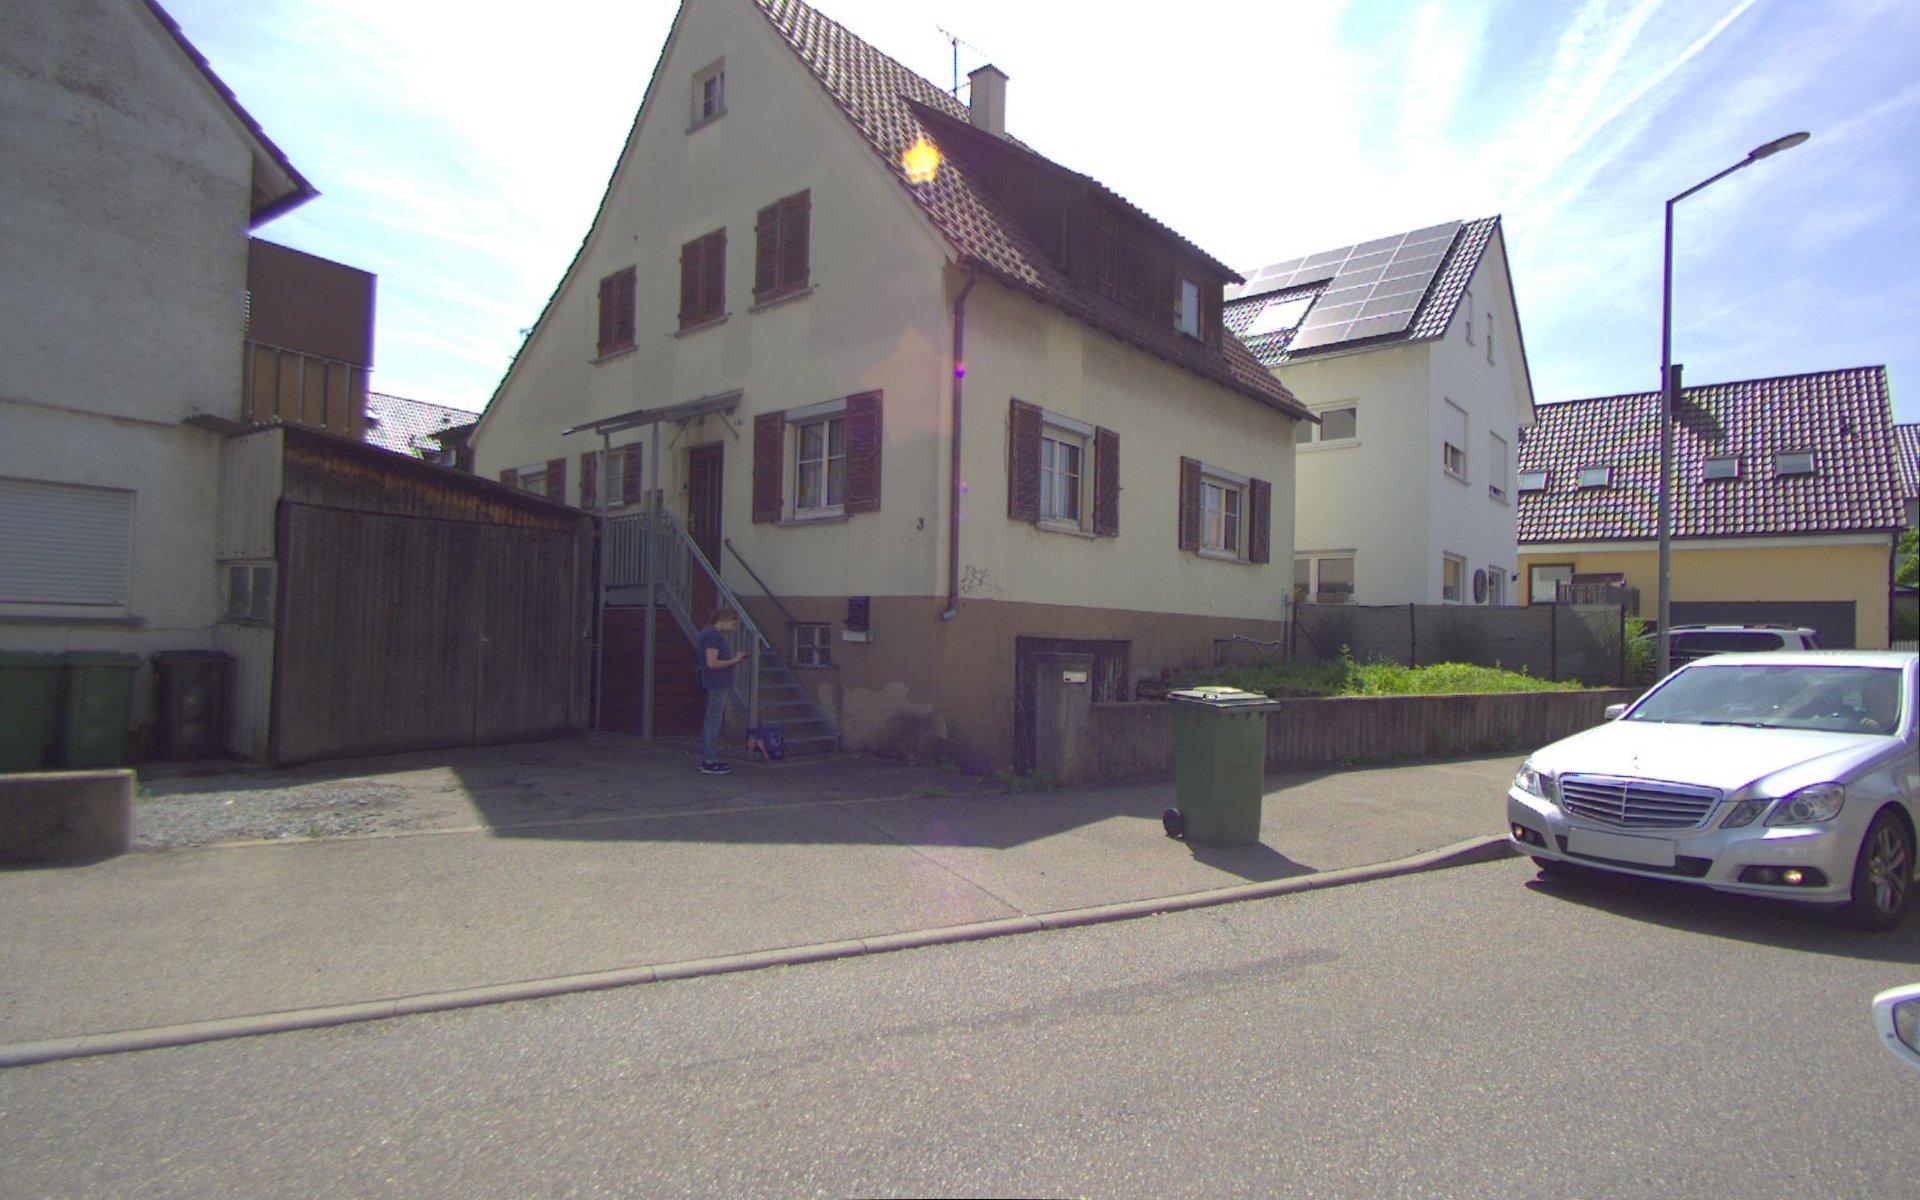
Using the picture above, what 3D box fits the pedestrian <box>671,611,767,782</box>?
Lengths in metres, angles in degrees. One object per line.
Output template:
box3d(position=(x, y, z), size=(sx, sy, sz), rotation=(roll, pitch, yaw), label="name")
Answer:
box3d(position=(-2.381, 0.911, 9.905), size=(0.622, 1.595, 0.770), rotation=(1, -1, -39), label="pedestrian")

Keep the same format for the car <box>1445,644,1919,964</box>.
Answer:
box3d(position=(5.534, 1.066, 6.689), size=(4.404, 1.505, 1.948), rotation=(2, -3, -29), label="car")

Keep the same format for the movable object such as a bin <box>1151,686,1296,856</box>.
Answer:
box3d(position=(1.879, 1.184, 7.202), size=(0.644, 1.071, 0.786), rotation=(1, -1, -34), label="movable object such as a bin")

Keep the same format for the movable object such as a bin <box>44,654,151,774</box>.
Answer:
box3d(position=(-8.153, 1.053, 9.504), size=(0.618, 1.049, 0.602), rotation=(1, -1, 33), label="movable object such as a bin")

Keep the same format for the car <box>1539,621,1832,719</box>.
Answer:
box3d(position=(14.019, 1.280, 19.595), size=(1.986, 1.644, 4.360), rotation=(3, -2, -43), label="car")

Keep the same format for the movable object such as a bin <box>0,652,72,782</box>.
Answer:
box3d(position=(-8.494, 1.032, 9.033), size=(0.669, 1.096, 0.582), rotation=(1, -1, 33), label="movable object such as a bin")

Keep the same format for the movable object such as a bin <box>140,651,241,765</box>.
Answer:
box3d(position=(-7.663, 1.052, 10.012), size=(0.620, 1.048, 0.611), rotation=(1, -1, 33), label="movable object such as a bin")
